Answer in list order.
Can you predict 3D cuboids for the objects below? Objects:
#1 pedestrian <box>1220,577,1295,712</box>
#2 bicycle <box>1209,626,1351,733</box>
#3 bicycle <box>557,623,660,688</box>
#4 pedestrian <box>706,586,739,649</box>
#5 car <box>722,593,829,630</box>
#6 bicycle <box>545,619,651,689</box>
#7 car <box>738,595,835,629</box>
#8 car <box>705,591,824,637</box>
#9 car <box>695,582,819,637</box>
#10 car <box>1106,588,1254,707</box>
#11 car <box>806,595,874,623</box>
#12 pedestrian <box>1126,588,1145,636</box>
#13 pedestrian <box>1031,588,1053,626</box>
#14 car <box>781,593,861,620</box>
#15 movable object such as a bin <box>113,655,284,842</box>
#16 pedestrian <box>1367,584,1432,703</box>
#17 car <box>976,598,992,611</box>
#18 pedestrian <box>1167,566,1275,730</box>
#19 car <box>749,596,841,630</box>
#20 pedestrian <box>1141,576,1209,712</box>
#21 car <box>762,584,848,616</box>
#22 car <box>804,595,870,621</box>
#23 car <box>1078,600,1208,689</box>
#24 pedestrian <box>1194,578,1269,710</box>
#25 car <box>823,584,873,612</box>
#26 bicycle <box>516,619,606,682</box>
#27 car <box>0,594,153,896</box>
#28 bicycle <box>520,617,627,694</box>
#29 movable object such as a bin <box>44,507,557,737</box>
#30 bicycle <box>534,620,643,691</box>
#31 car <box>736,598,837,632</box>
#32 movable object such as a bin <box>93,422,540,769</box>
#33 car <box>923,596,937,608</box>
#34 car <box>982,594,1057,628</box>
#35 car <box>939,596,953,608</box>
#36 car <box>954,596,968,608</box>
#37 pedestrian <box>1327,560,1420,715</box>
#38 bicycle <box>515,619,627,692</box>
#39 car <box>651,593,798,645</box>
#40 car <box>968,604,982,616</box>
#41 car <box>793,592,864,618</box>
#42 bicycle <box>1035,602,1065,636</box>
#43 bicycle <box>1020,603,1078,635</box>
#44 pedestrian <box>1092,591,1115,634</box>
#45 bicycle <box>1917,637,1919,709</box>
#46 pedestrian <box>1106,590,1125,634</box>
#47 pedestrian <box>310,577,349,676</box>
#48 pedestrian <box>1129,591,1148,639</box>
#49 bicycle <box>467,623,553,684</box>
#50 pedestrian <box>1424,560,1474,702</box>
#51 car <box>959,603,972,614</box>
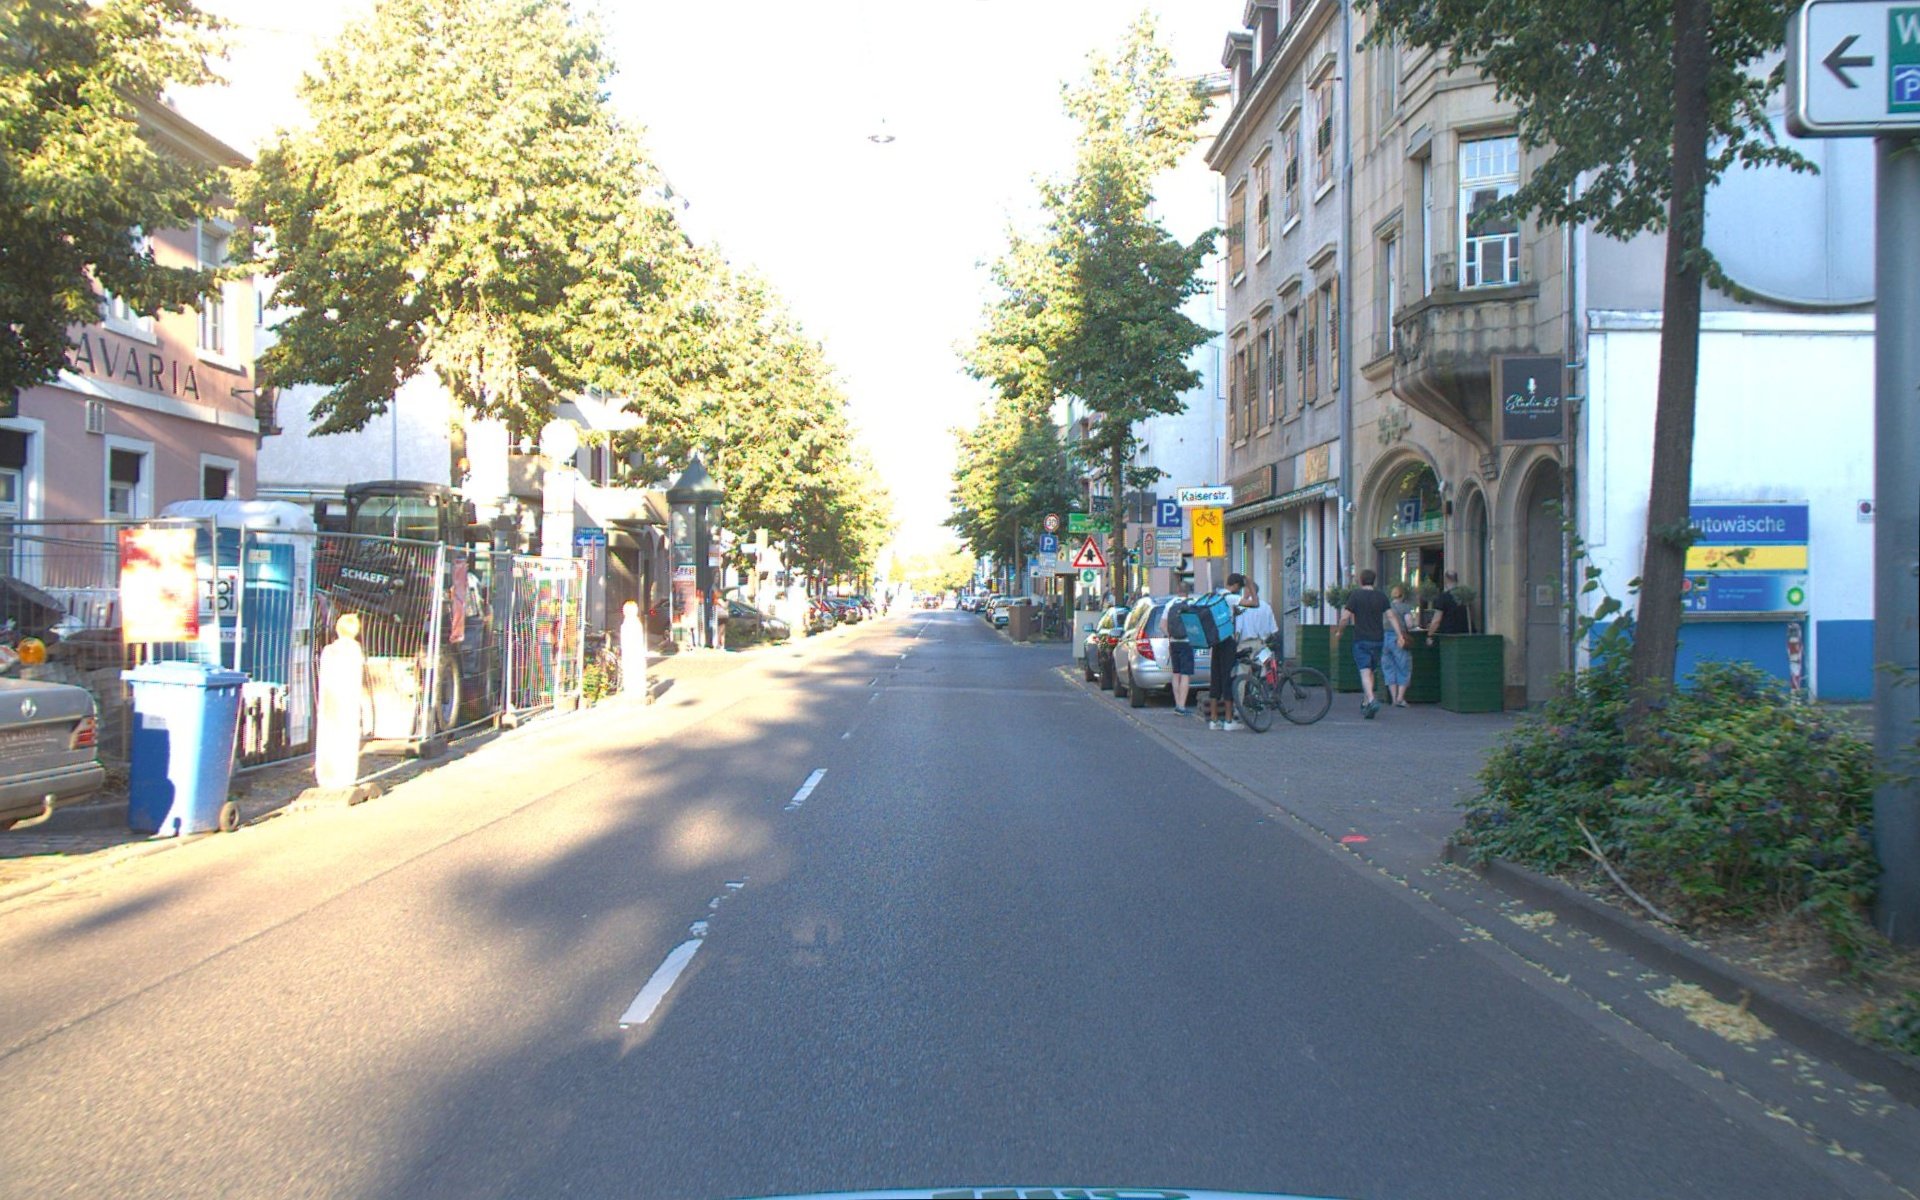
[{"bbox_3d":[3.932,0.578,21.853,0.648,1.730,0.657,-2,0,-45],"label":"pedestrian"},{"bbox_3d":[3.806,0.915,19.577,0.850,1.118,1.918,-2,1,38],"label":"bicycle"},{"bbox_3d":[-6.090,0.954,28.658,1.647,1.039,0.445,3,-1,7],"label":"bicycle"},{"bbox_3d":[-6.549,0.465,45.593,0.695,1.716,0.834,0,0,8],"label":"pedestrian"},{"bbox_3d":[-7.880,0.487,70.922,4.351,1.532,1.844,1,0,0],"label":"car"},{"bbox_3d":[-6.111,0.908,27.933,1.647,1.097,0.445,3,-1,7],"label":"bicycle"},{"bbox_3d":[-8.123,0.566,77.825,4.351,1.484,1.859,1,0,0],"label":"car"},{"bbox_3d":[-7.742,0.552,65.873,4.478,1.727,2.060,1,0,0],"label":"car"},{"bbox_3d":[-7.711,0.358,63.227,4.478,1.996,1.990,1,0,-1],"label":"car"},{"bbox_3d":[3.291,0.666,25.424,1.652,1.602,4.013,-2,0,0],"label":"car"},{"bbox_3d":[-8.058,0.622,111.421,4.351,1.790,1.919,1,0,0],"label":"car"},{"bbox_3d":[6.065,0.417,57.087,0.555,1.627,0.663,-1,1,0],"label":"pedestrian"},{"bbox_3d":[4.283,0.382,86.601,0.900,1.959,1.015,1,0,-10],"label":"pedestrian"},{"bbox_3d":[-7.896,0.369,94.051,4.351,1.474,1.919,1,0,0],"label":"car"},{"bbox_3d":[-4.946,0.945,10.790,0.675,1.124,0.883,-1,0,1],"label":"movable object such as a bin"},{"bbox_3d":[6.068,0.590,22.840,0.645,1.589,0.701,-2,0,-1],"label":"pedestrian"},{"bbox_3d":[2.332,0.455,161.478,1.482,1.298,3.304,0,0,1],"label":"car"},{"bbox_3d":[3.085,0.559,19.595,0.995,1.857,0.778,-2,0,-10],"label":"pedestrian"},{"bbox_3d":[-8.227,0.646,82.810,4.351,1.595,1.919,1,0,0],"label":"car"},{"bbox_3d":[2.874,0.577,22.133,0.665,1.785,0.823,-1,0,-11],"label":"pedestrian"},{"bbox_3d":[-8.193,0.013,87.529,4.351,1.595,1.919,1,0,0],"label":"car"},{"bbox_3d":[-8.117,0.531,109.319,4.215,1.626,1.919,1,0,0],"label":"car"},{"bbox_3d":[3.235,0.743,30.081,1.749,1.399,4.523,-3,0,-1],"label":"car"},{"bbox_3d":[3.697,0.585,22.585,0.666,1.735,0.822,-2,0,-15],"label":"pedestrian"},{"bbox_3d":[-10.082,-0.206,148.852,4.351,2.477,1.919,1,0,0],"label":"car"},{"bbox_3d":[-7.037,0.887,29.209,1.458,1.077,0.470,1,-1,-7],"label":"bicycle"},{"bbox_3d":[-7.017,0.696,8.800,4.498,1.495,1.893,1,0,2],"label":"car"},{"bbox_3d":[-6.039,0.873,25.866,1.530,1.136,0.439,3,-2,-34],"label":"bicycle"},{"bbox_3d":[-8.231,0.239,21.153,2.273,2.539,5.719,0,0,42],"label":"movable object such as a bin"},{"bbox_3d":[-6.140,0.914,27.347,1.647,1.097,0.445,3,-1,7],"label":"bicycle"},{"bbox_3d":[-7.893,0.680,75.521,4.351,1.510,1.809,1,0,0],"label":"car"},{"bbox_3d":[-6.273,-0.044,17.060,2.571,3.021,5.302,0,0,-1],"label":"movable object such as a bin"},{"bbox_3d":[-3.981,0.225,220.814,1.716,1.567,3.304,0,0,1],"label":"car"},{"bbox_3d":[2.959,0.560,81.792,1.646,1.616,3.800,1,0,42],"label":"car"},{"bbox_3d":[-1.824,0.306,213.805,1.685,1.501,3.304,0,0,1],"label":"car"},{"bbox_3d":[0.130,0.302,213.629,1.716,1.567,3.304,0,0,1],"label":"car"},{"bbox_3d":[5.262,0.460,21.097,0.806,1.886,1.097,-2,0,-2],"label":"pedestrian"},{"bbox_3d":[-6.290,0.900,26.754,1.648,1.097,0.444,3,-1,-1],"label":"bicycle"},{"bbox_3d":[-7.488,0.607,52.860,4.454,1.568,1.810,1,0,-2],"label":"car"},{"bbox_3d":[1.632,1.072,179.587,1.482,1.285,3.304,0,0,1],"label":"car"},{"bbox_3d":[-8.320,0.333,104.919,4.351,1.549,1.919,1,0,0],"label":"car"},{"bbox_3d":[3.201,0.669,58.586,0.585,1.198,1.847,0,0,19],"label":"bicycle"},{"bbox_3d":[3.071,0.650,57.124,1.918,1.092,0.704,0,0,31],"label":"bicycle"},{"bbox_3d":[5.484,0.471,63.086,0.779,1.654,0.913,0,0,12],"label":"pedestrian"},{"bbox_3d":[3.983,0.754,6.349,0.473,1.163,1.677,-3,0,30],"label":"bicycle"},{"bbox_3d":[6.039,0.455,64.075,0.617,1.709,0.892,0,0,14],"label":"pedestrian"},{"bbox_3d":[-11.430,0.481,30.007,0.495,1.768,0.719,1,-2,-10],"label":"pedestrian"},{"bbox_3d":[6.084,0.498,56.323,0.555,1.611,0.663,-1,1,0],"label":"pedestrian"},{"bbox_3d":[-7.559,0.895,27.778,1.296,0.997,0.444,1,-1,3],"label":"bicycle"},{"bbox_3d":[6.699,0.417,22.652,0.452,1.908,0.499,-1,0,-16],"label":"pedestrian"},{"bbox_3d":[0.702,1.050,202.317,1.482,1.321,3.304,0,0,1],"label":"car"}]
